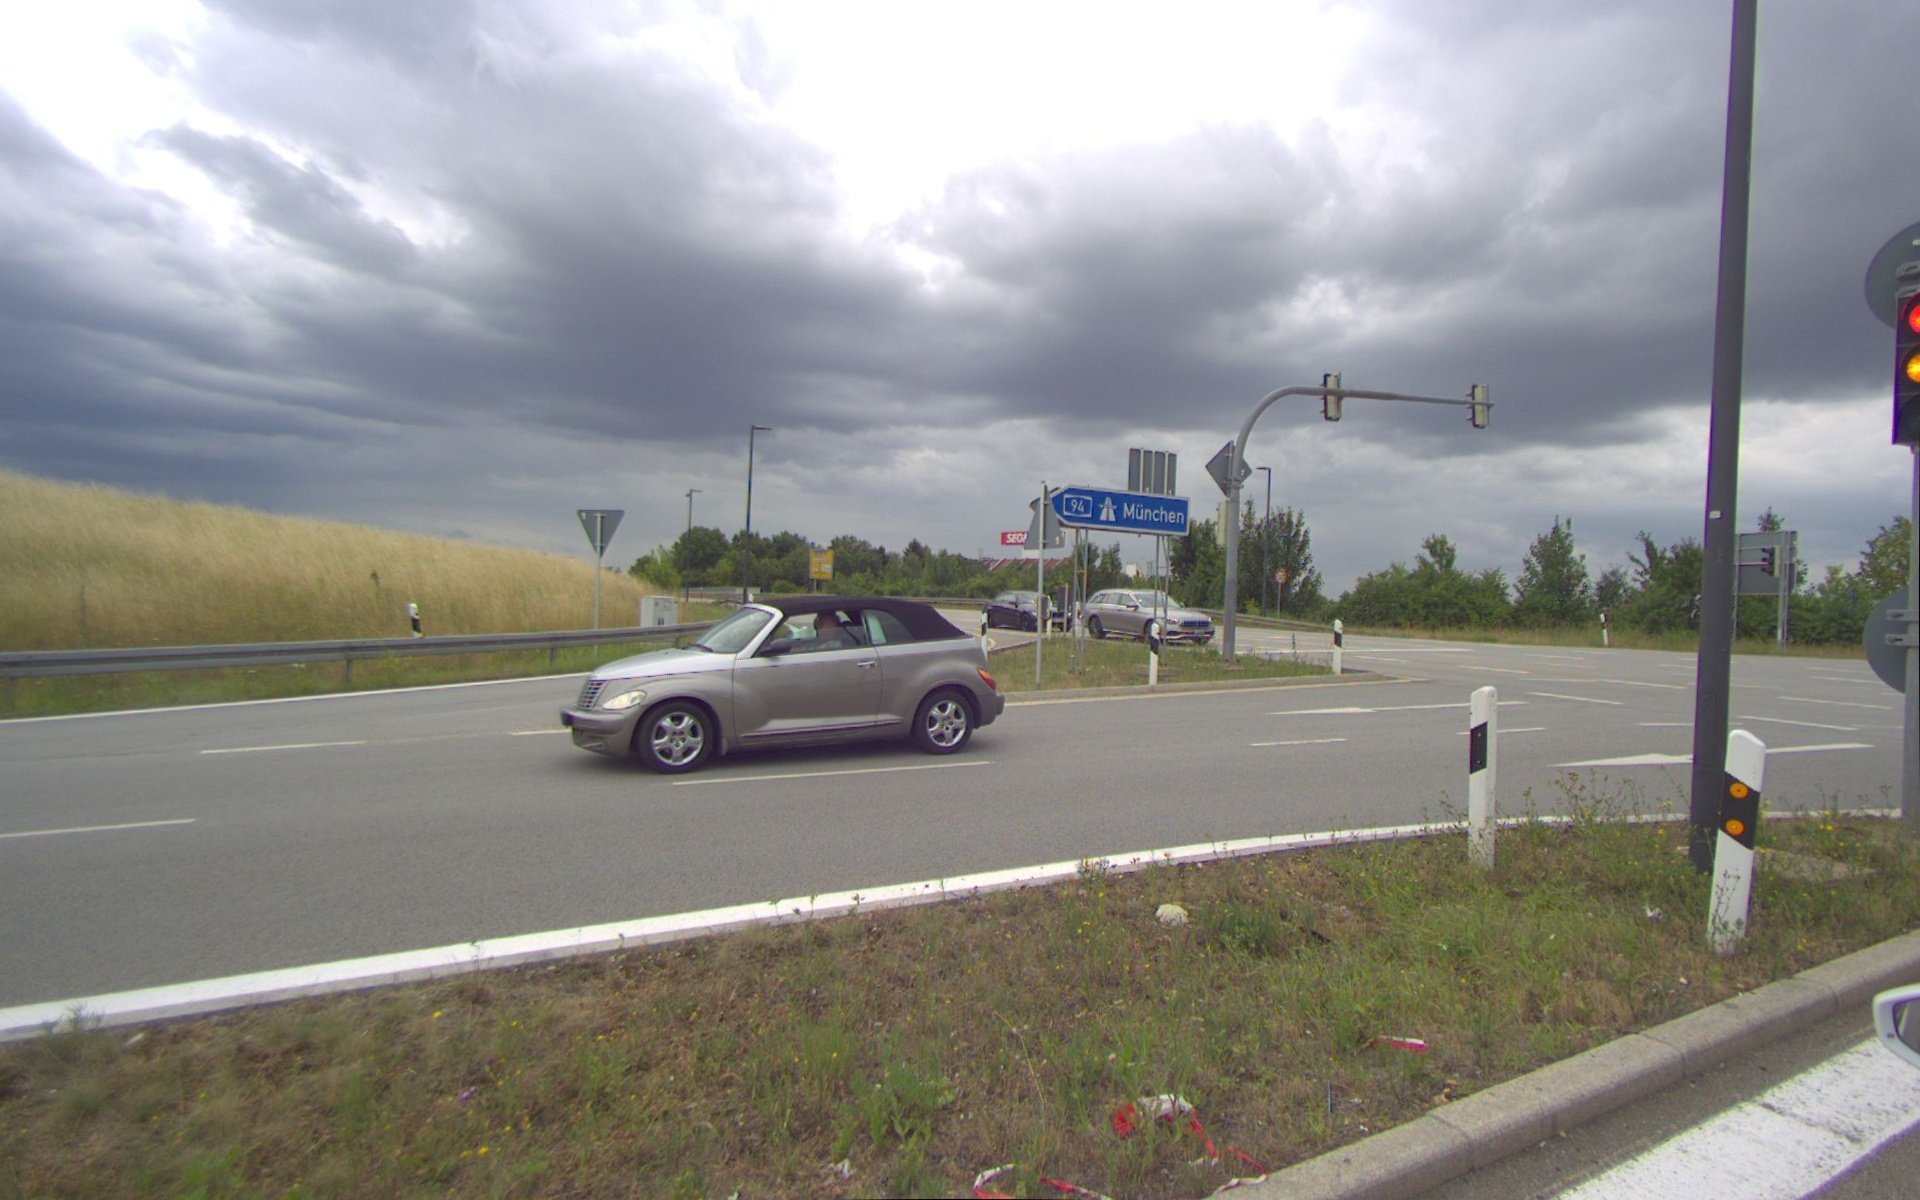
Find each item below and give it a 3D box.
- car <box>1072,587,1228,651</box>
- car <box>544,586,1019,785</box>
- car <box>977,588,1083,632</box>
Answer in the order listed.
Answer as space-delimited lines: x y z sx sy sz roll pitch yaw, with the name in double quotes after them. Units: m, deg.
5.391 0.475 29.208 1.895 1.632 4.916 0 1 -26 "car"
-1.666 0.670 9.744 4.192 1.541 1.801 0 1 -30 "car"
2.405 0.320 35.789 1.690 1.429 4.643 2 0 -26 "car"
